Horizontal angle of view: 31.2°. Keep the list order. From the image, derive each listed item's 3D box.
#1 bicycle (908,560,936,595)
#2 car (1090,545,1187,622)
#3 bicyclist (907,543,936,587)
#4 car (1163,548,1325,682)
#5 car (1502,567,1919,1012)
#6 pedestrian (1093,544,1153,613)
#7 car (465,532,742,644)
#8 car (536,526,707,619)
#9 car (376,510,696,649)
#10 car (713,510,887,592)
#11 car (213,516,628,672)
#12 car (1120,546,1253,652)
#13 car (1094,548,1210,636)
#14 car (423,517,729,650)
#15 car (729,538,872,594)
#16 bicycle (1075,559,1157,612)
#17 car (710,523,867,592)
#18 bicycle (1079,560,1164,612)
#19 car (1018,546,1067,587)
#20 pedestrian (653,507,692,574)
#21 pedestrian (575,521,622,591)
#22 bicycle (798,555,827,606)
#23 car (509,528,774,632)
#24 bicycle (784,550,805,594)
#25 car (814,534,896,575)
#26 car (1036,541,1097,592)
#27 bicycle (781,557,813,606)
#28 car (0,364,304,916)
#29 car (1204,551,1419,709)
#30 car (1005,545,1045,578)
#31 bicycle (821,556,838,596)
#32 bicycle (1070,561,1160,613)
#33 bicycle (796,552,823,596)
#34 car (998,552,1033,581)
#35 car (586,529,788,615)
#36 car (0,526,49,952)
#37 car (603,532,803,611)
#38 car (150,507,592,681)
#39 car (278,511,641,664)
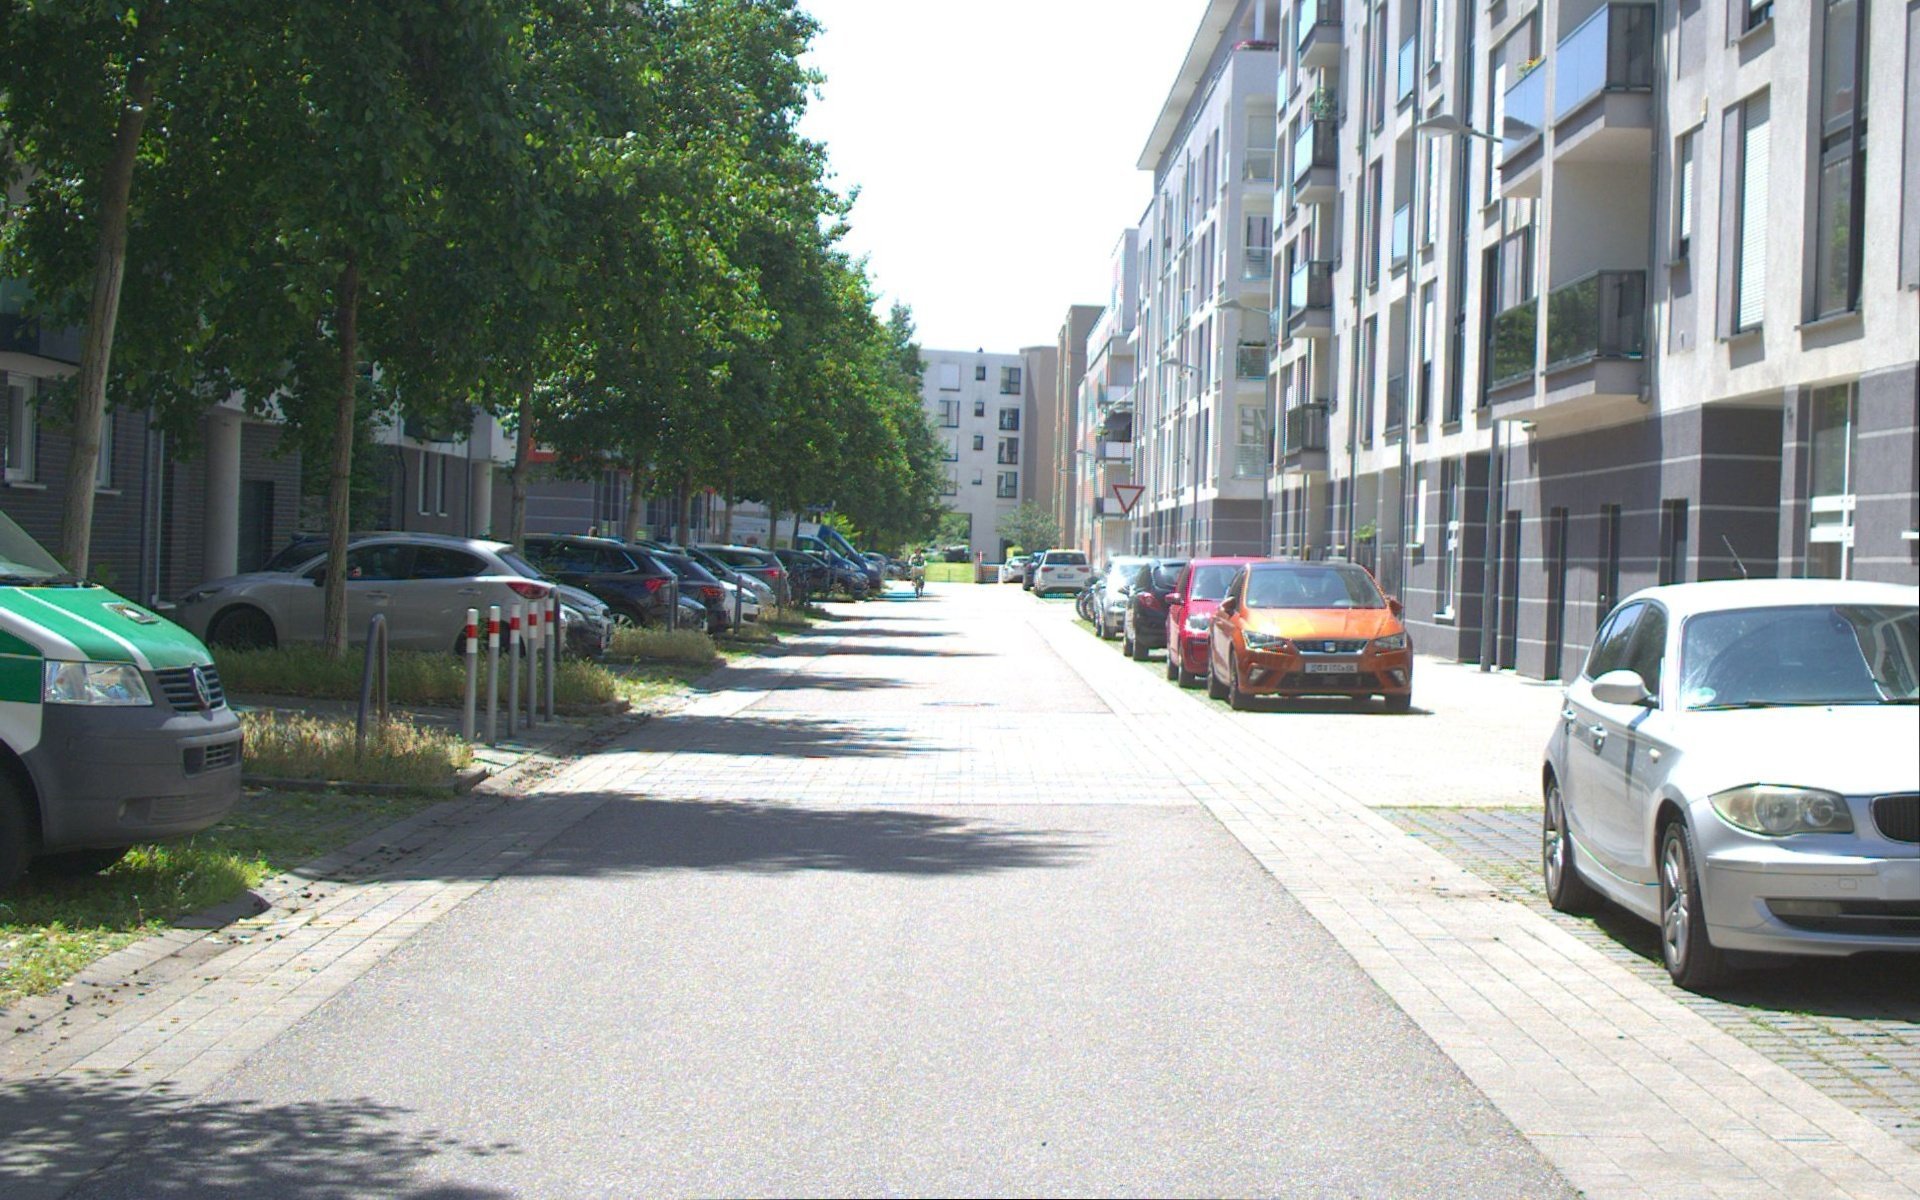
[{"bbox_3d":[-1.296,-0.768,117.022,0.898,1.125,2.040,1,1,0],"label":"bicycle"},{"bbox_3d":[3.580,-0.350,69.552,1.739,1.480,4.229,1,1,0],"label":"car"},{"bbox_3d":[-1.298,-1.193,116.981,0.954,1.454,0.800,1,1,0],"label":"bicyclist"},{"bbox_3d":[3.268,0.139,40.080,1.595,1.480,3.676,0,1,0],"label":"car"},{"bbox_3d":[3.367,0.614,13.374,1.845,1.411,4.426,2,1,1],"label":"car"},{"bbox_3d":[3.580,-0.474,75.427,1.178,1.509,0.688,0,1,-9],"label":"pedestrian"},{"bbox_3d":[-5.289,-0.183,51.366,3.974,1.440,1.776,3,1,-3],"label":"car"},{"bbox_3d":[-6.262,-0.516,63.808,2.932,1.495,1.848,4,1,-1],"label":"car"},{"bbox_3d":[-5.655,-0.280,46.197,3.987,1.624,1.933,3,1,0],"label":"car"},{"bbox_3d":[-5.660,-1.746,122.515,6.024,2.806,2.605,1,1,0],"label":"car"},{"bbox_3d":[-6.028,-0.084,38.731,4.316,1.471,1.793,3,1,0],"label":"car"},{"bbox_3d":[3.246,-0.045,49.849,1.642,1.457,4.118,0,1,0],"label":"car"},{"bbox_3d":[3.382,-0.167,61.237,1.834,1.499,4.351,0,1,0],"label":"car"},{"bbox_3d":[-5.403,-0.248,48.721,3.987,1.645,1.918,3,1,2],"label":"car"},{"bbox_3d":[-5.065,-1.091,109.897,4.383,1.509,2.075,3,1,0],"label":"car"},{"bbox_3d":[3.557,-0.333,78.249,1.860,1.189,0.687,1,1,3],"label":"bicycle"},{"bbox_3d":[-5.806,-1.464,117.088,5.145,2.112,2.312,3,1,0],"label":"car"},{"bbox_3d":[3.565,-0.306,75.886,1.833,1.144,0.461,0,1,-18],"label":"bicycle"},{"bbox_3d":[3.295,-1.356,137.108,1.758,1.547,4.000,2,1,3],"label":"car"},{"bbox_3d":[-8.749,-1.798,104.570,1.009,2.007,1.129,1,1,3],"label":"pedestrian"},{"bbox_3d":[-8.794,-1.072,83.624,1.000,1.684,0.832,1,1,2],"label":"pedestrian"},{"bbox_3d":[-3.486,-0.468,81.277,0.371,1.176,1.821,1,1,-12],"label":"bicycle"},{"bbox_3d":[-5.372,-0.352,58.381,4.360,1.704,2.000,0,1,-2],"label":"car"},{"bbox_3d":[-4.806,-0.810,99.781,0.434,1.200,1.700,3,2,1],"label":"bicycle"},{"bbox_3d":[-5.537,-2.405,181.356,3.988,2.007,1.999,2,1,7],"label":"car"},{"bbox_3d":[3.602,-1.152,116.994,1.997,1.651,4.115,1,1,1],"label":"car"},{"bbox_3d":[-3.848,-0.447,81.253,0.433,1.124,1.979,1,1,-12],"label":"bicycle"},{"bbox_3d":[-5.661,0.082,14.377,5.342,2.103,2.187,1,1,2],"label":"car"},{"bbox_3d":[3.464,0.253,34.543,1.737,1.482,4.259,0,1,0],"label":"car"},{"bbox_3d":[3.506,-2.083,185.659,1.993,1.669,4.000,2,1,-1],"label":"car"},{"bbox_3d":[-3.783,-0.702,99.984,0.466,1.138,1.926,1,1,-2],"label":"bicycle"},{"bbox_3d":[3.432,-0.287,76.254,1.924,1.129,0.609,1,1,10],"label":"bicycle"},{"bbox_3d":[-4.374,-0.767,99.770,0.570,1.170,1.769,4,2,-7],"label":"bicycle"},{"bbox_3d":[3.414,-2.082,212.893,1.993,1.711,4.000,2,1,-1],"label":"car"},{"bbox_3d":[-5.607,-0.589,70.964,3.937,1.548,1.872,3,1,0],"label":"car"},{"bbox_3d":[-5.534,0.440,11.538,4.420,1.484,2.000,1,1,-2],"label":"car"},{"bbox_3d":[-5.505,-0.599,73.859,4.180,1.481,1.959,2,0,-3],"label":"car"},{"bbox_3d":[-6.158,-0.075,36.286,4.252,1.512,1.925,4,1,0],"label":"car"},{"bbox_3d":[-5.965,-0.163,41.290,3.987,1.586,1.884,3,1,1],"label":"car"}]
